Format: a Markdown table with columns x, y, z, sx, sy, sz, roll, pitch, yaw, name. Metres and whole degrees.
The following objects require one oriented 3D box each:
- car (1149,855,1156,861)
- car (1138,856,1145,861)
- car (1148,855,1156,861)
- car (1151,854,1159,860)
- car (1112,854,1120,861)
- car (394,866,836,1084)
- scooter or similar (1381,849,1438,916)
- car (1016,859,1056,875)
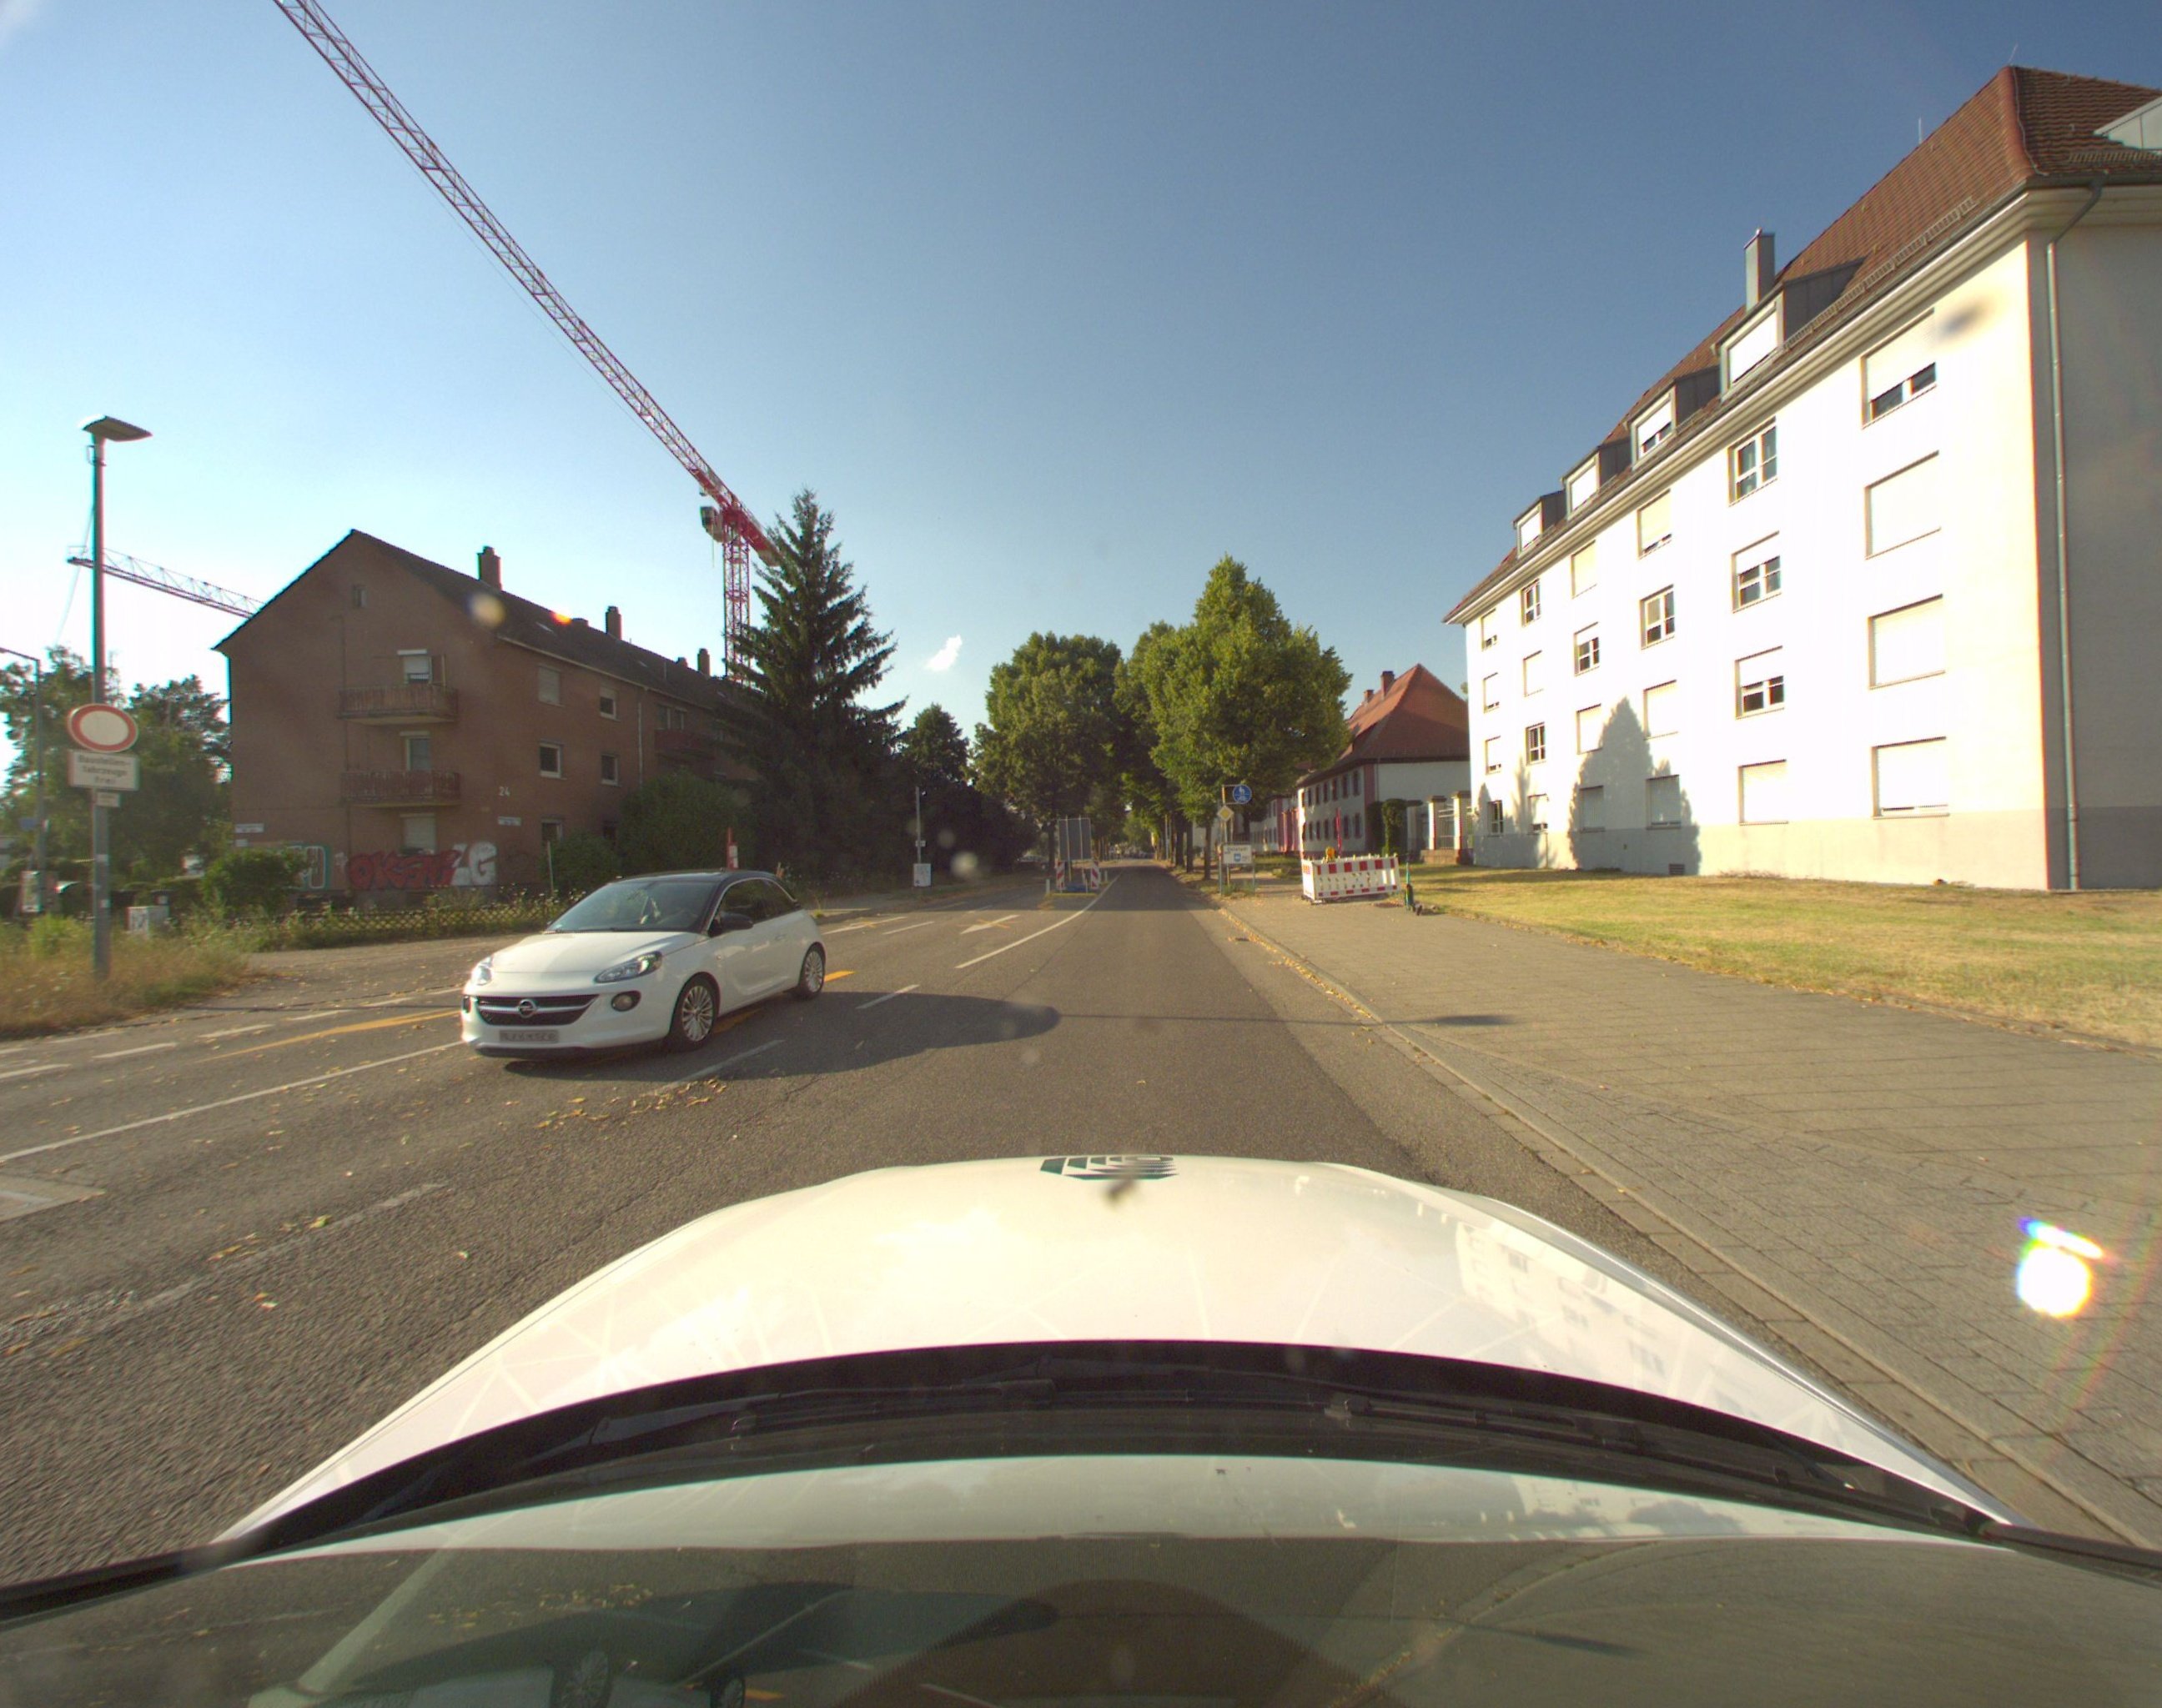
| x | y | z | sx | sy | sz | roll | pitch | yaw | name |
| --- | --- | --- | --- | --- | --- | --- | --- | --- | --- |
| 18.967 | 1.072 | 216.559 | 1.833 | 1.261 | 4.004 | -2 | 0 | 4 | car |
| 18.363 | 1.342 | 245.723 | 1.835 | 1.386 | 4.000 | -2 | 0 | 1 | car |
| 18.292 | 1.033 | 209.791 | 1.831 | 1.261 | 4.009 | -1 | 0 | 8 | car |
| 18.063 | 0.741 | 199.417 | 1.833 | 1.261 | 4.004 | -2 | 0 | 4 | car |
| 9.559 | 0.964 | 222.242 | 1.988 | 1.687 | 3.997 | -2 | -1 | -1 | car |
| -3.876 | 0.896 | 7.593 | 1.750 | 1.421 | 3.630 | -2 | 0 | 5 | car |
| 6.928 | 0.582 | 17.221 | 0.556 | 1.292 | 1.464 | -7 | -1 | 4 | scooter or similar |
| -4.519 | 1.333 | 82.412 | 3.824 | 1.473 | 1.654 | -1 | 0 | 6 | car |
